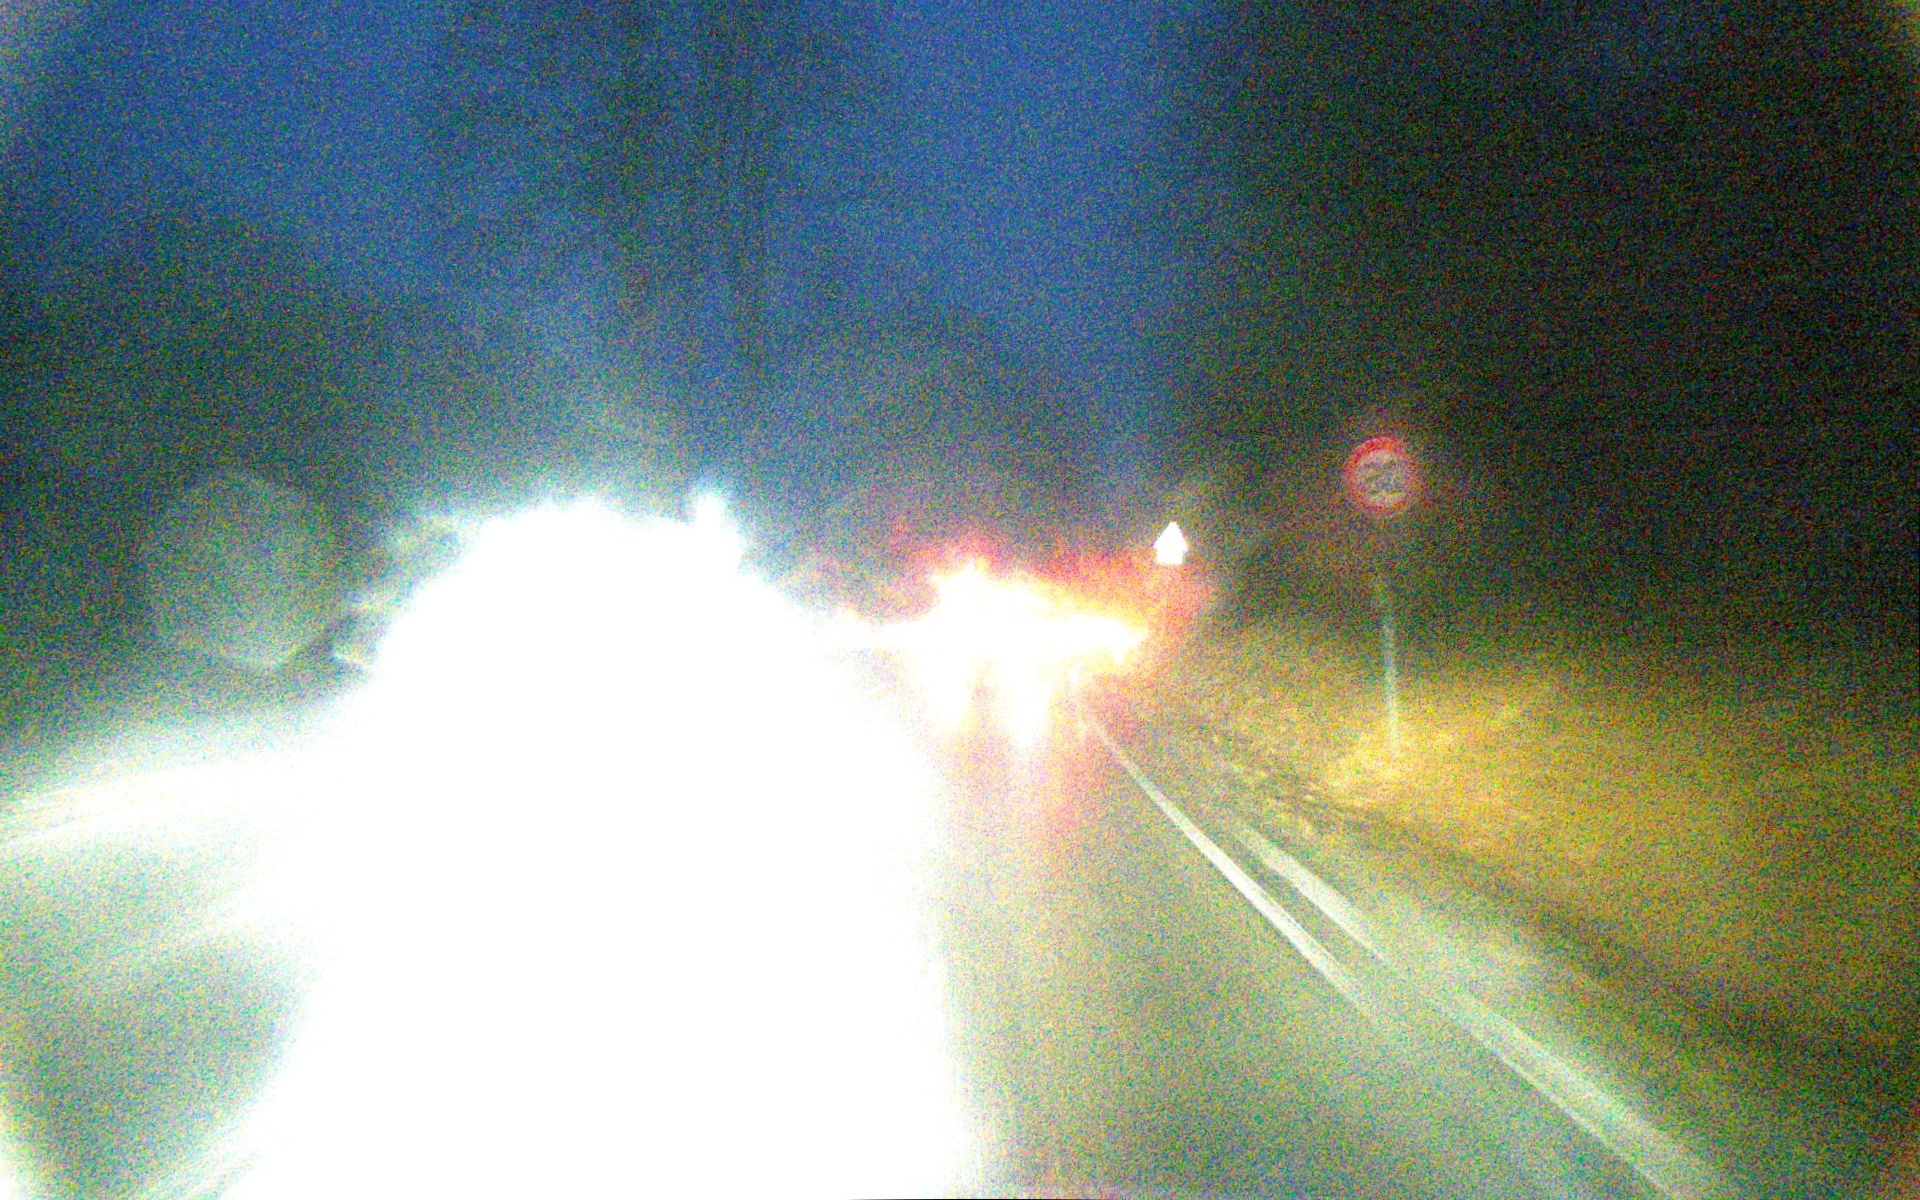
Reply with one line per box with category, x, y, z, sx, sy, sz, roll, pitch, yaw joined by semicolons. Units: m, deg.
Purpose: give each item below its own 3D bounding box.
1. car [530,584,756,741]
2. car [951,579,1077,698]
car;-3.447;0.607;18.716;1.729;1.569;4.148;0;1;0
car;0.854;0.610;28.247;1.953;1.838;3.917;-2;0;0
